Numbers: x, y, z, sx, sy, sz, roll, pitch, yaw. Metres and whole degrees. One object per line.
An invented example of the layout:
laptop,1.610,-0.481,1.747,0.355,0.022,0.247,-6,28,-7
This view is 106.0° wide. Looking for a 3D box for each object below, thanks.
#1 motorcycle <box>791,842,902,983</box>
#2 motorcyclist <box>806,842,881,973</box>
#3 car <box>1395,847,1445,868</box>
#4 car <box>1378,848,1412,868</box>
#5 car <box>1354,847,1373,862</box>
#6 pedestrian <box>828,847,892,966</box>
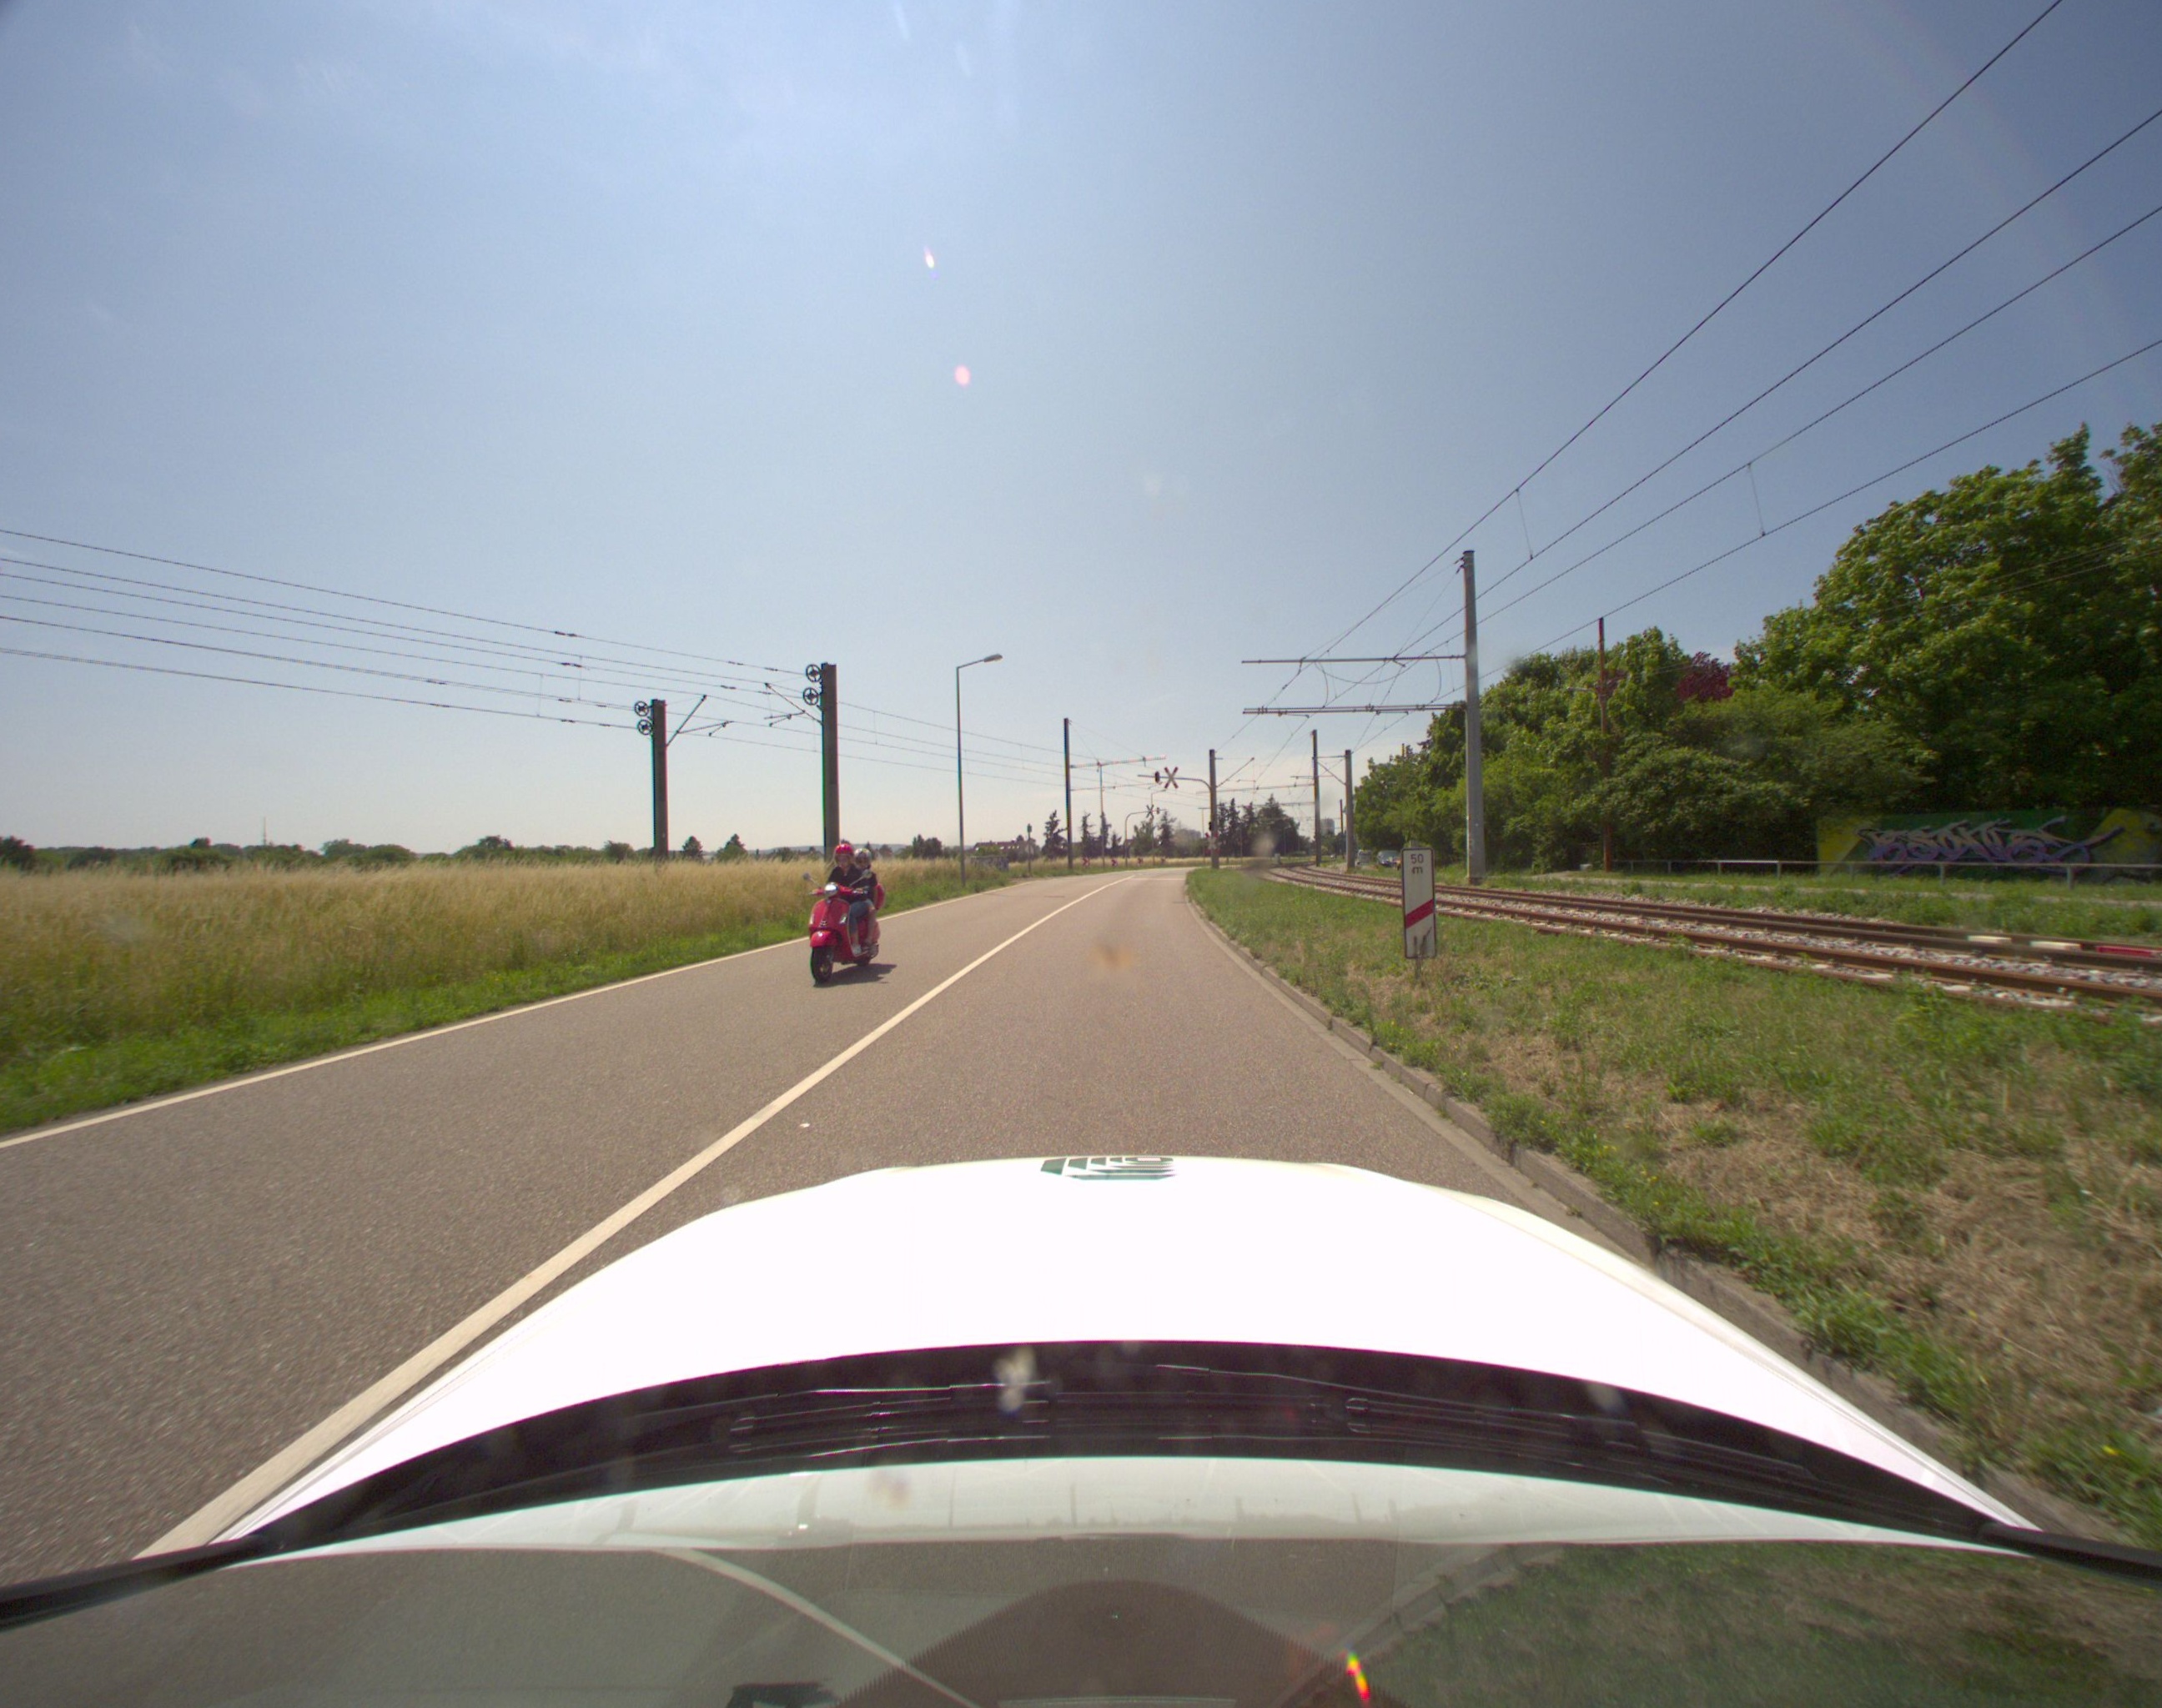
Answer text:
motorcycle,-2.964,0.667,10.549,0.701,1.586,2.148,-2,1,2
motorcyclist,-3.015,0.656,10.393,0.686,1.586,0.670,-2,2,1
car,21.172,0.229,51.008,1.639,1.171,3.668,-2,-2,0
car,23.635,0.318,61.448,1.784,1.426,4.757,-2,-2,14
car,37.767,0.151,108.818,2.018,1.882,5.096,-2,-2,23
pedestrian,-2.971,0.688,10.976,0.640,1.536,0.578,-2,1,1
